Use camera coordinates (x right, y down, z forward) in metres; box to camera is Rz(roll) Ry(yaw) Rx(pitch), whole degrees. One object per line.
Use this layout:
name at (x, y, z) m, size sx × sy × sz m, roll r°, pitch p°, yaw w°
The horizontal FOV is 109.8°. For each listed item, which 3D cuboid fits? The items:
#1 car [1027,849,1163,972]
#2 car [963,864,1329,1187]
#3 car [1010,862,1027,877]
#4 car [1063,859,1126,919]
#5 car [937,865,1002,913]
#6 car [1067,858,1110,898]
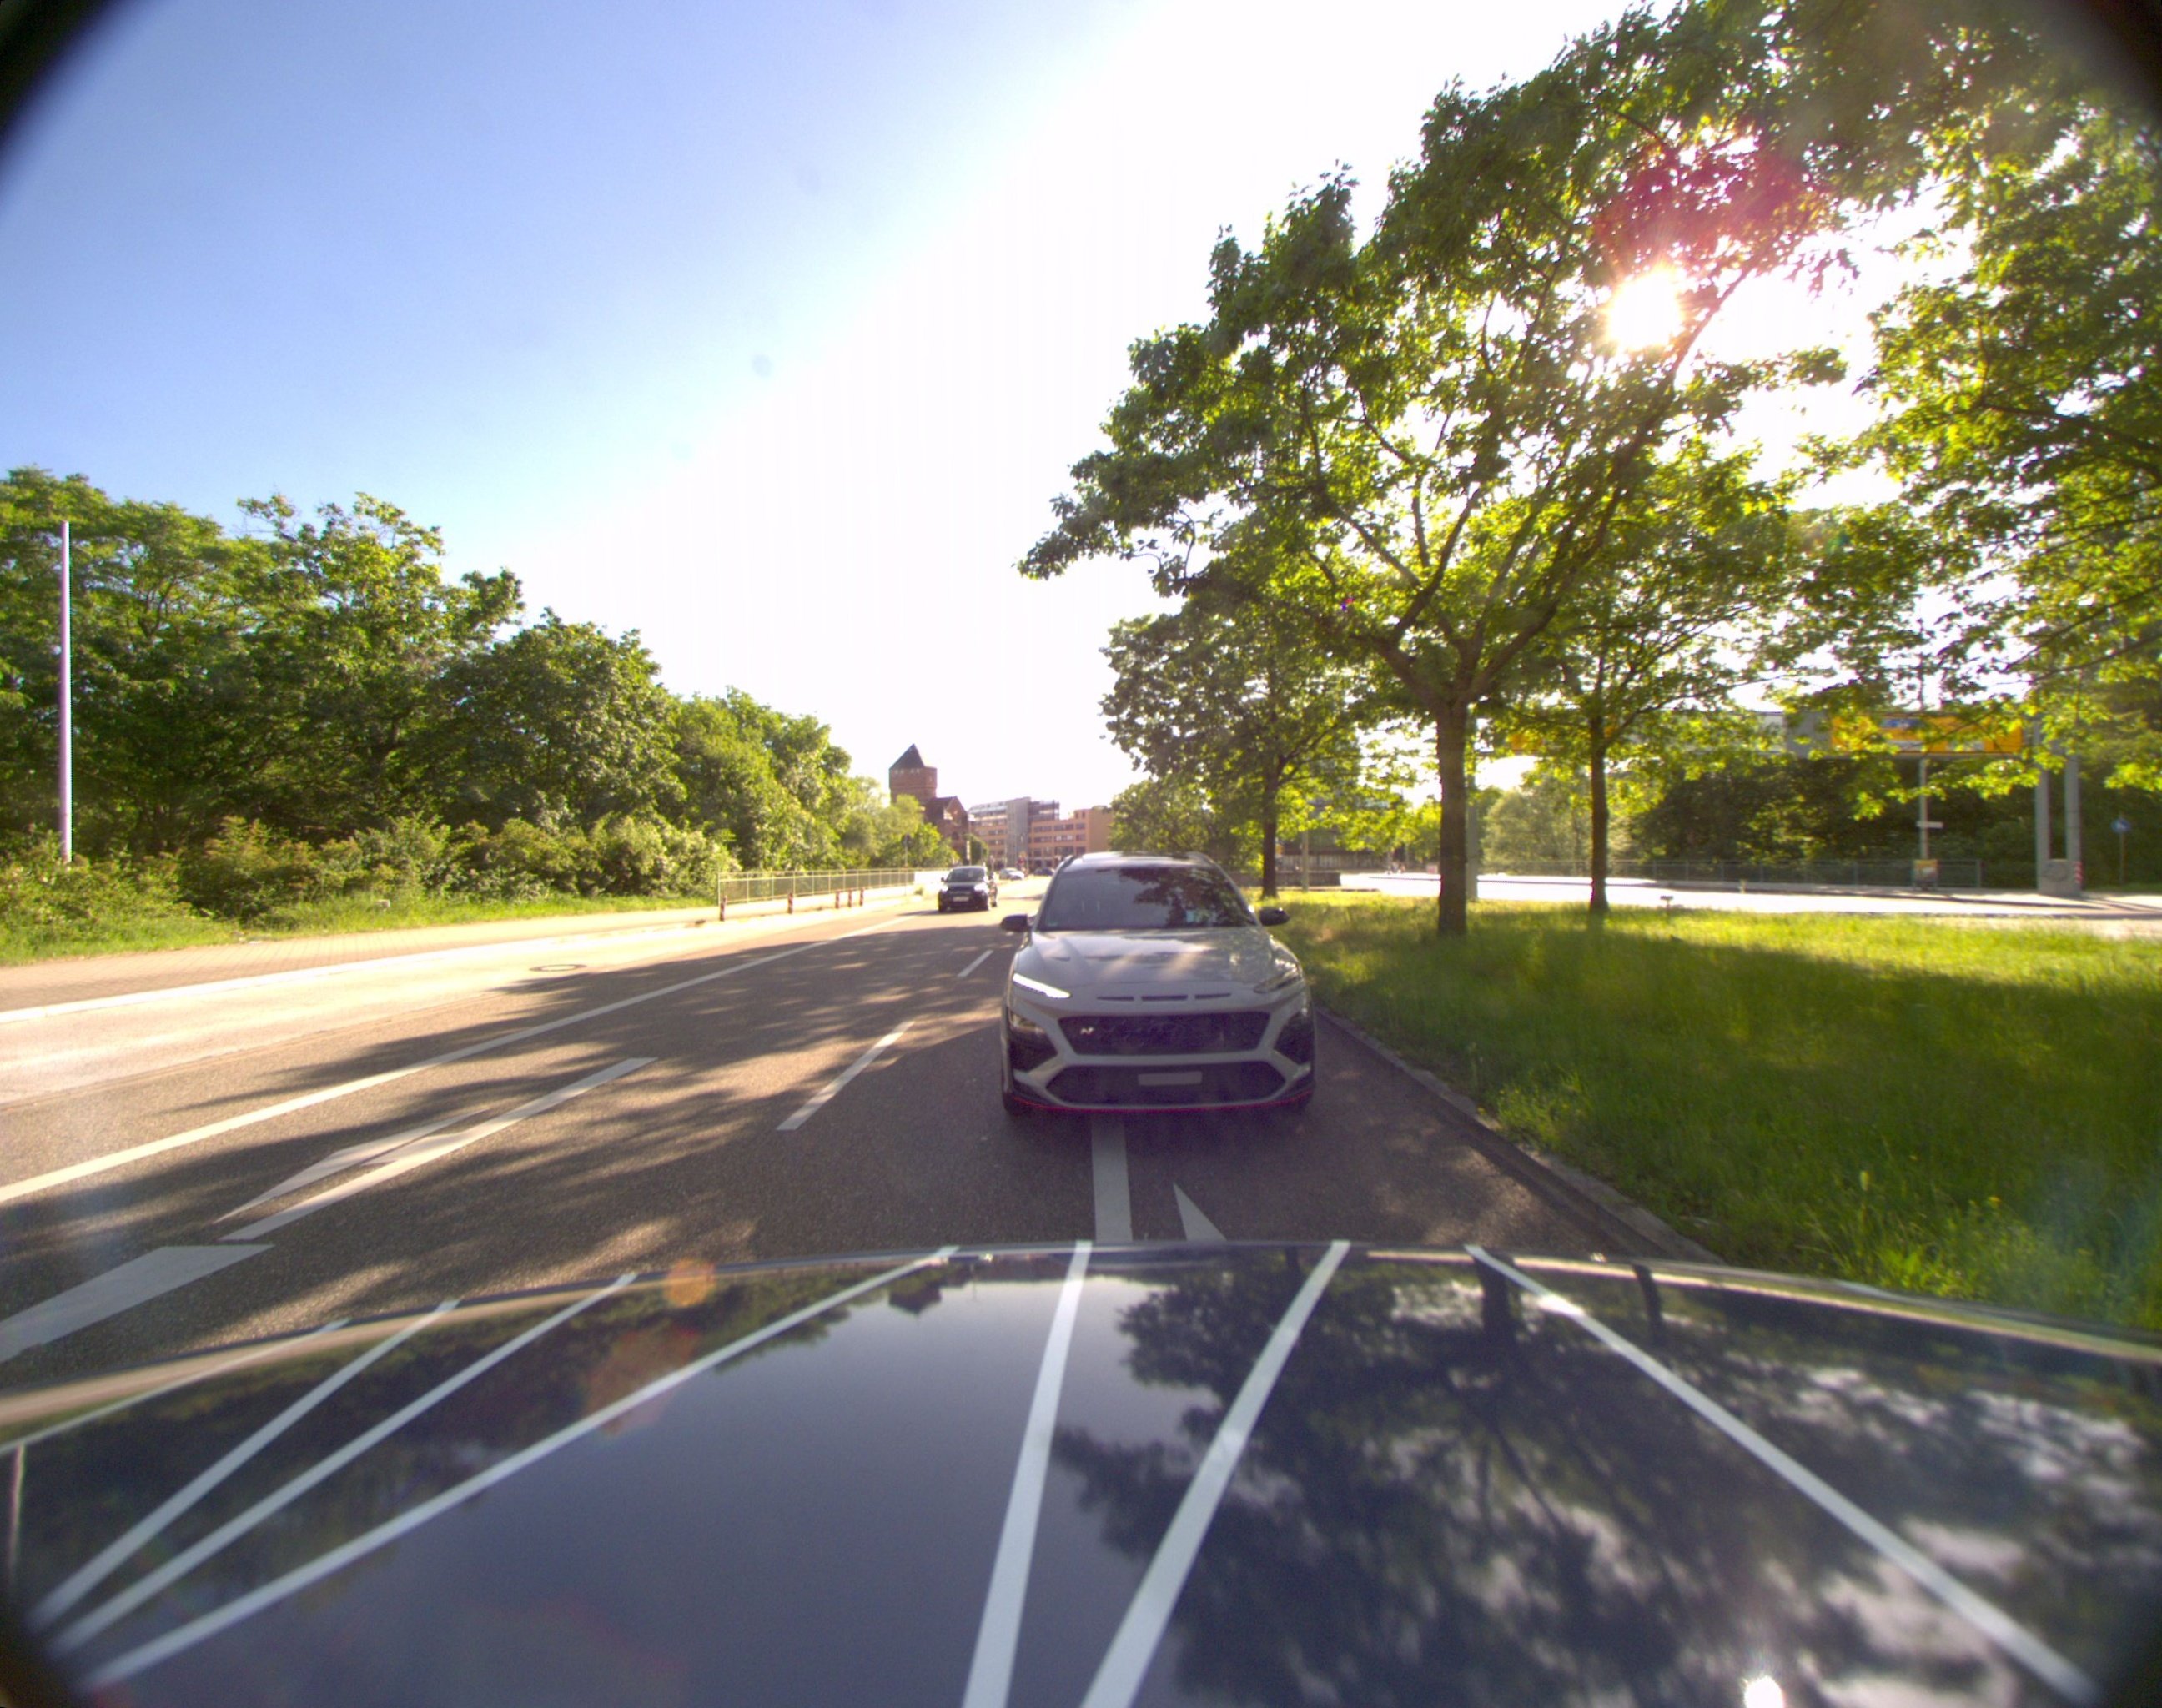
car at (0.404, 0.820, 12.747) m, size 1.744 × 1.539 × 4.002 m, roll -8°, pitch -1°, yaw 6°
car at (0.420, 0.882, 5.748) m, size 1.780 × 1.542 × 3.981 m, roll -1°, pitch 0°, yaw 3°
car at (-7.548, 1.834, 91.070) m, size 1.999 × 1.595 × 4.209 m, roll -1°, pitch 0°, yaw -6°
car at (0.464, 0.982, 22.841) m, size 1.678 × 1.499 × 3.949 m, roll -2°, pitch 1°, yaw 3°
car at (-3.795, 1.146, 26.372) m, size 1.678 × 1.494 × 3.562 m, roll -1°, pitch 0°, yaw 0°
car at (0.282, 1.051, 34.911) m, size 1.834 × 1.637 × 3.999 m, roll -1°, pitch 0°, yaw -1°
